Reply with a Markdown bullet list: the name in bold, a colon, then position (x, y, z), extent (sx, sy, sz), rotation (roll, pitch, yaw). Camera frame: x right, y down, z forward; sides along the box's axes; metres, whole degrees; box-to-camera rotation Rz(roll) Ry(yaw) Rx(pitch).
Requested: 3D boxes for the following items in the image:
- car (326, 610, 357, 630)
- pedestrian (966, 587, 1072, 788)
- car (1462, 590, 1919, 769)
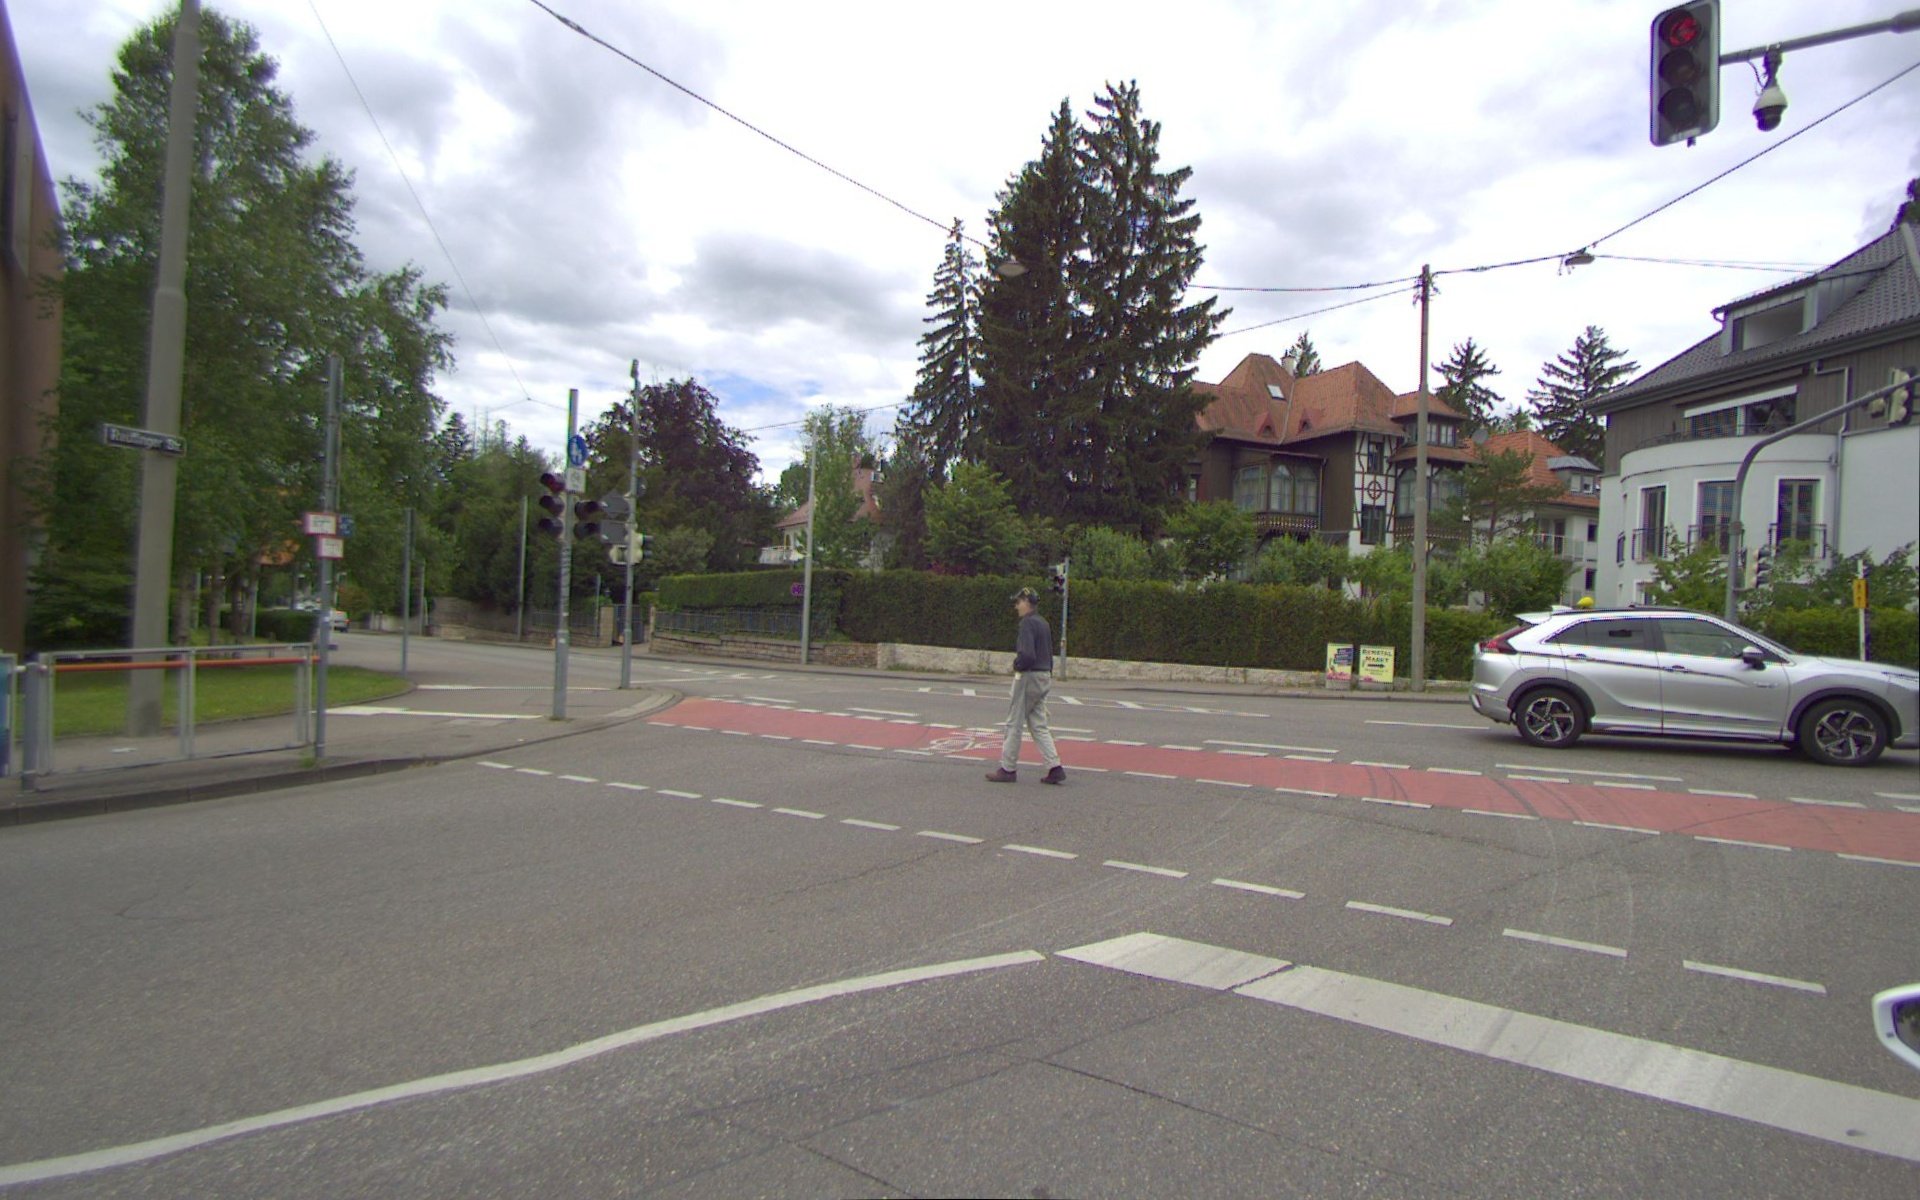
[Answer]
- **car**: position (-55.657, 1.791, 90.362), extent (1.798, 1.734, 3.990), rotation (2, -2, -39)
- **pedestrian**: position (0.521, 0.727, 8.710), extent (0.726, 1.655, 0.683), rotation (-1, -1, 22)
- **car**: position (8.388, 0.822, 11.732), extent (4.408, 1.776, 1.810), rotation (0, -1, 31)
